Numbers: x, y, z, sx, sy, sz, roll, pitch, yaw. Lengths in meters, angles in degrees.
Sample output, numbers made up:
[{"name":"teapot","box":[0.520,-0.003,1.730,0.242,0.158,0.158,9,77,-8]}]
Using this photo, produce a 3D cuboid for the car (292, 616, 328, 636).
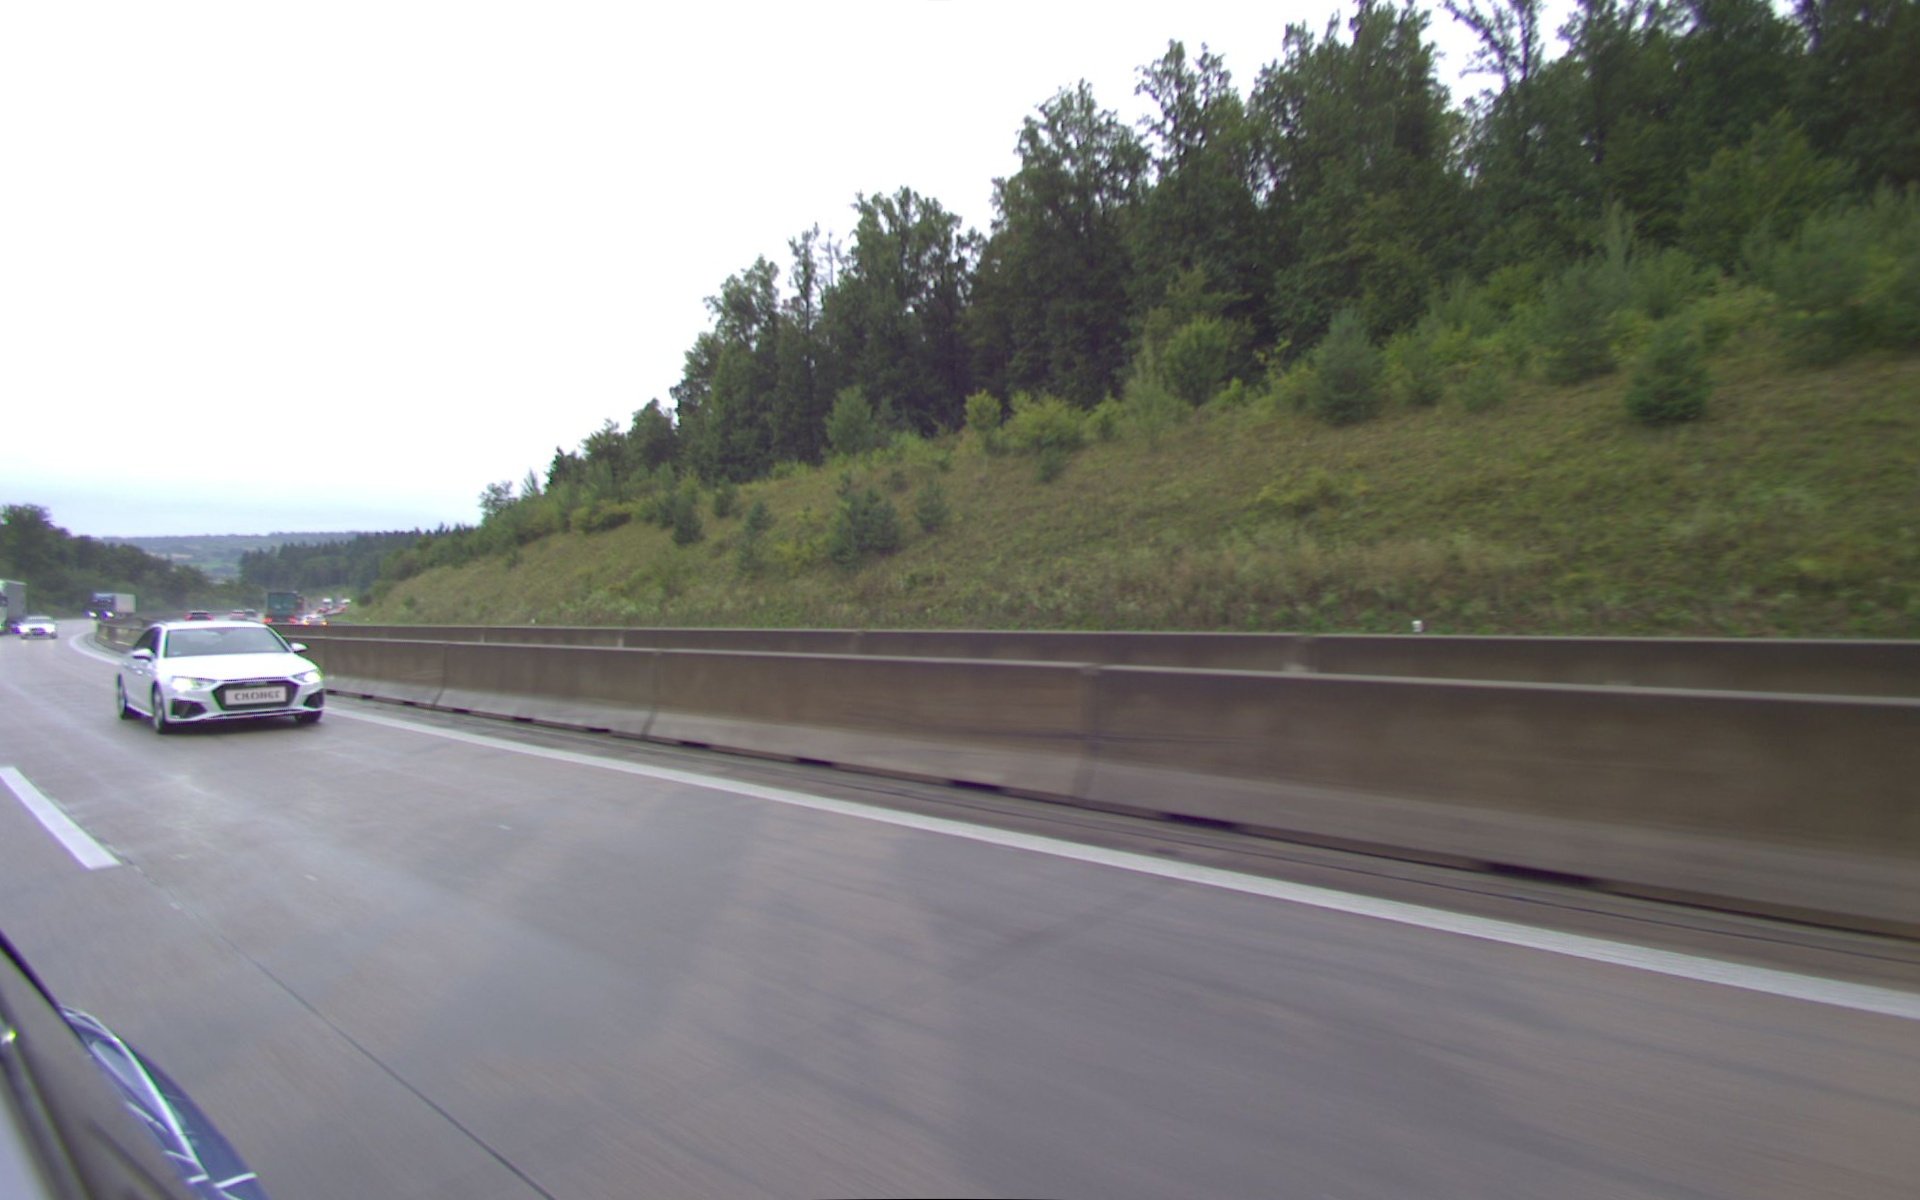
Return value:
[{"name":"car","box":[-53.216,2.080,82.778,1.710,1.588,4.247,1,-2,-44]}]

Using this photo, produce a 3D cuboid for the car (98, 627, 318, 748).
[{"name":"car","box":[-10.789,1.102,14.367,4.936,1.418,1.693,-1,-1,44]}]

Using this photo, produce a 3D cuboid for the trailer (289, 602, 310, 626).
[{"name":"trailer","box":[-115.287,2.477,176.514,2.887,3.991,13.500,1,-1,-33]}]

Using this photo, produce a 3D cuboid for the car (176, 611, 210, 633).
[{"name":"car","box":[-63.866,1.836,84.283,1.710,1.790,4.762,1,-2,-44]}]

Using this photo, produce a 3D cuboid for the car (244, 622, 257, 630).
[{"name":"car","box":[-129.995,4.762,185.514,1.707,1.504,4.011,1,-1,-32]}]

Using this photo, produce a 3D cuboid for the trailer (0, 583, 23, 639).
[{"name":"trailer","box":[-75.823,0.964,79.268,2.646,4.071,13.728,-2,0,-39]}]

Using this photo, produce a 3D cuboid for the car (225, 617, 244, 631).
[{"name":"car","box":[-99.943,3.301,139.399,1.709,1.790,4.766,1,-1,-40]}]

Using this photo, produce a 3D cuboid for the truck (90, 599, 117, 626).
[{"name":"truck","box":[-134.245,1.984,158.603,2.695,4.183,8.640,0,-1,-37]}]

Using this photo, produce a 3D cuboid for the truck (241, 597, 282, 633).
[{"name":"truck","box":[-77.890,1.680,112.836,2.871,3.918,7.374,0,-1,-42]}]

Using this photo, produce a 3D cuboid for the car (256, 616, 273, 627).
[{"name":"car","box":[-100.642,3.108,146.467,1.708,1.504,4.008,1,-1,-38]}]

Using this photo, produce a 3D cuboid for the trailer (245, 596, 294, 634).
[{"name":"trailer","box":[-74.429,1.596,108.957,2.871,3.918,11.049,0,-1,-42]}]

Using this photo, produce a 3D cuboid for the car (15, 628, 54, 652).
[{"name":"car","box":[-60.070,2.553,65.689,1.823,1.494,4.454,0,-1,-42]}]

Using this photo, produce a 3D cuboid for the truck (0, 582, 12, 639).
[{"name":"truck","box":[-71.183,0.834,73.591,2.687,4.071,5.763,-2,0,-39]}]
